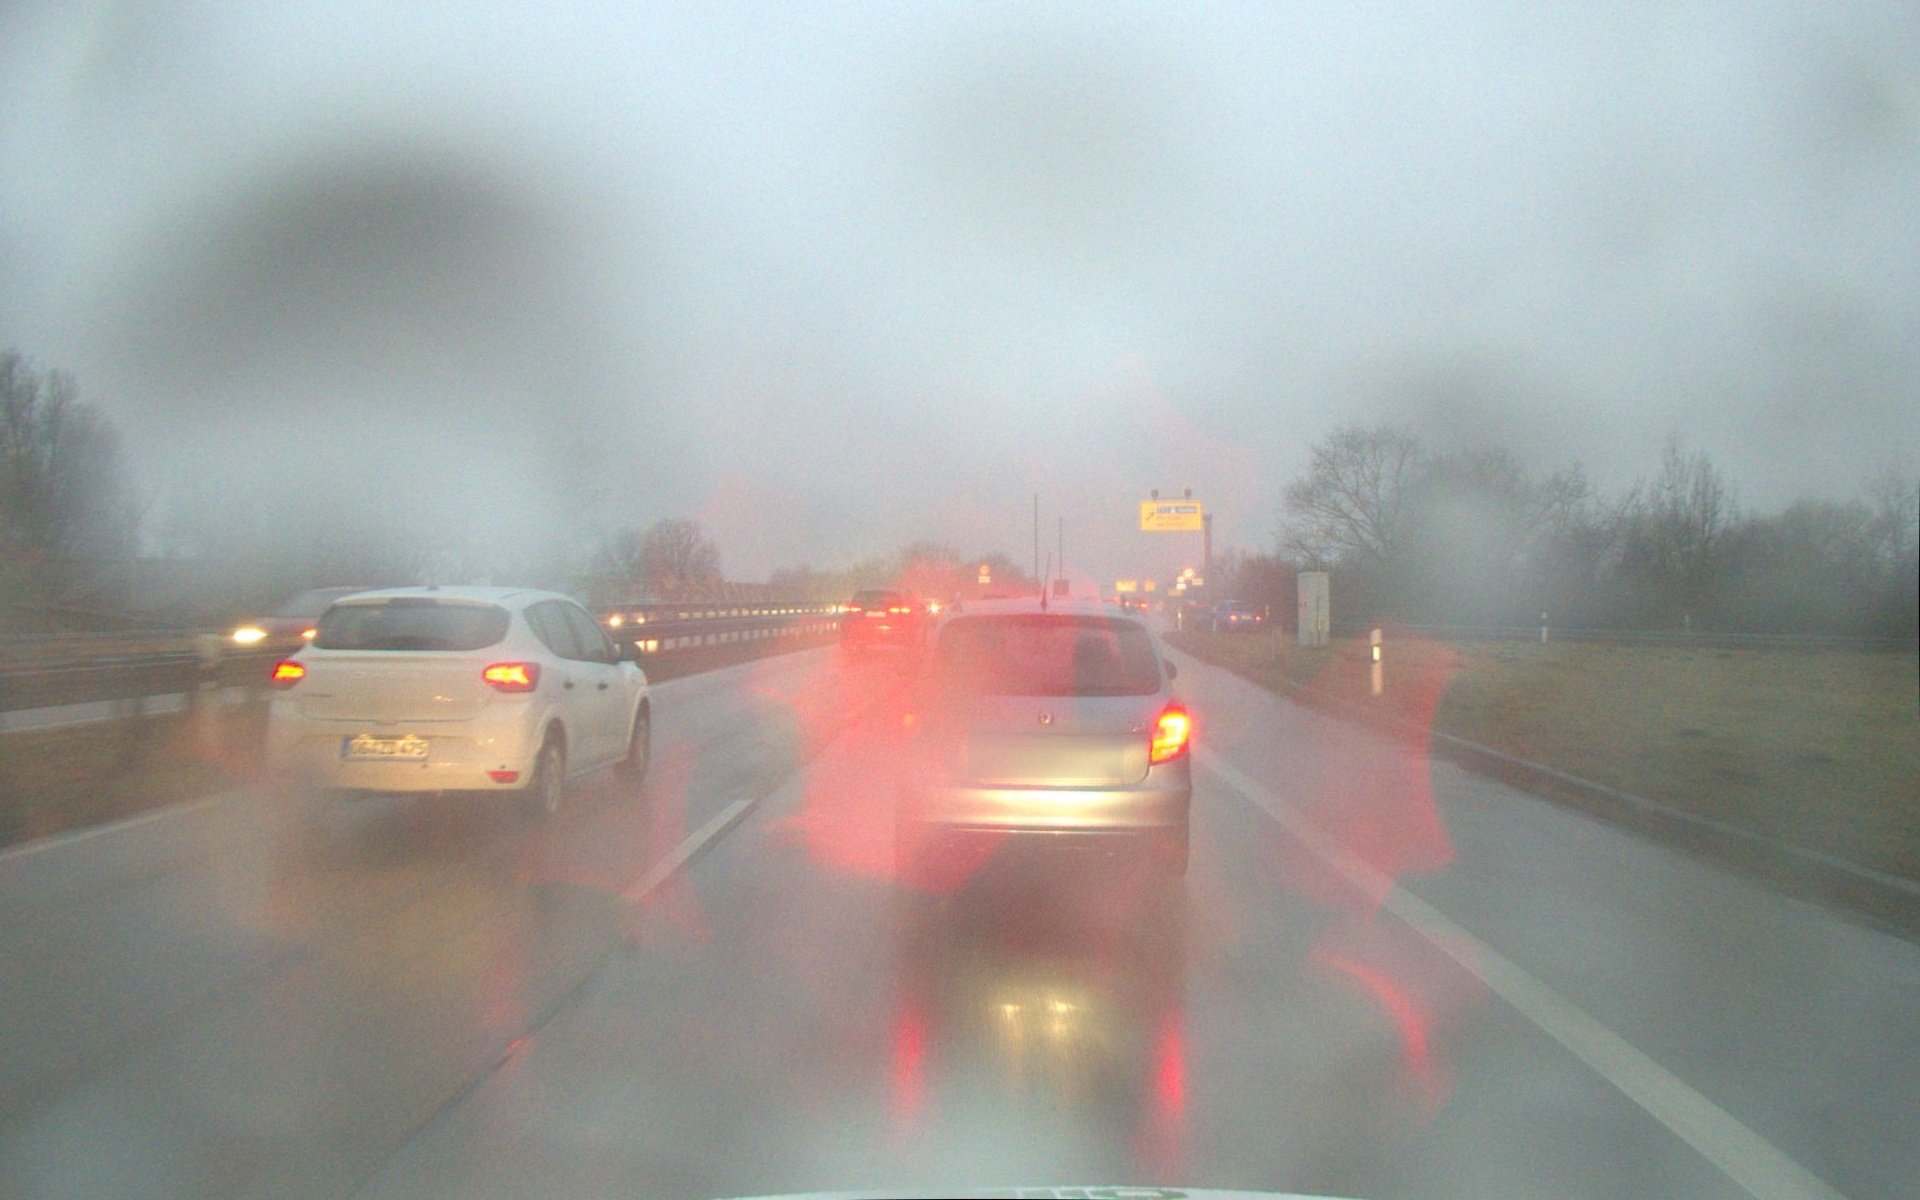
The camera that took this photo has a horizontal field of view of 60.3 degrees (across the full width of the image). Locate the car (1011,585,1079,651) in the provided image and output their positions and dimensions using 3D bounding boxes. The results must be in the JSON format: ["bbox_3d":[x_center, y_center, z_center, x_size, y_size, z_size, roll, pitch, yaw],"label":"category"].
[{"bbox_3d":[2.506,0.494,48.031,1.857,1.798,4.311,0,0,4],"label":"car"}]

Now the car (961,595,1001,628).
[{"bbox_3d":[1.086,0.564,82.542,1.752,1.572,4.002,0,0,4],"label":"car"}]

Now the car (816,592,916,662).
[{"bbox_3d":[-2.316,0.643,41.974,1.951,1.629,4.311,2,0,4],"label":"car"}]

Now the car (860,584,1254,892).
[{"bbox_3d":[0.532,0.695,10.301,1.952,1.527,4.138,0,0,1],"label":"car"}]

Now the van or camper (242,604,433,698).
[{"bbox_3d":[-10.815,0.842,29.063,1.495,1.507,4.435,1,0,2],"label":"van or camper"}]

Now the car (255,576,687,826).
[{"bbox_3d":[-3.230,0.605,11.844,1.688,1.465,4.227,0,0,2],"label":"car"}]

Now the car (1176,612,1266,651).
[{"bbox_3d":[11.072,1.322,70.407,1.769,1.572,3.962,0,0,-28],"label":"car"}]
